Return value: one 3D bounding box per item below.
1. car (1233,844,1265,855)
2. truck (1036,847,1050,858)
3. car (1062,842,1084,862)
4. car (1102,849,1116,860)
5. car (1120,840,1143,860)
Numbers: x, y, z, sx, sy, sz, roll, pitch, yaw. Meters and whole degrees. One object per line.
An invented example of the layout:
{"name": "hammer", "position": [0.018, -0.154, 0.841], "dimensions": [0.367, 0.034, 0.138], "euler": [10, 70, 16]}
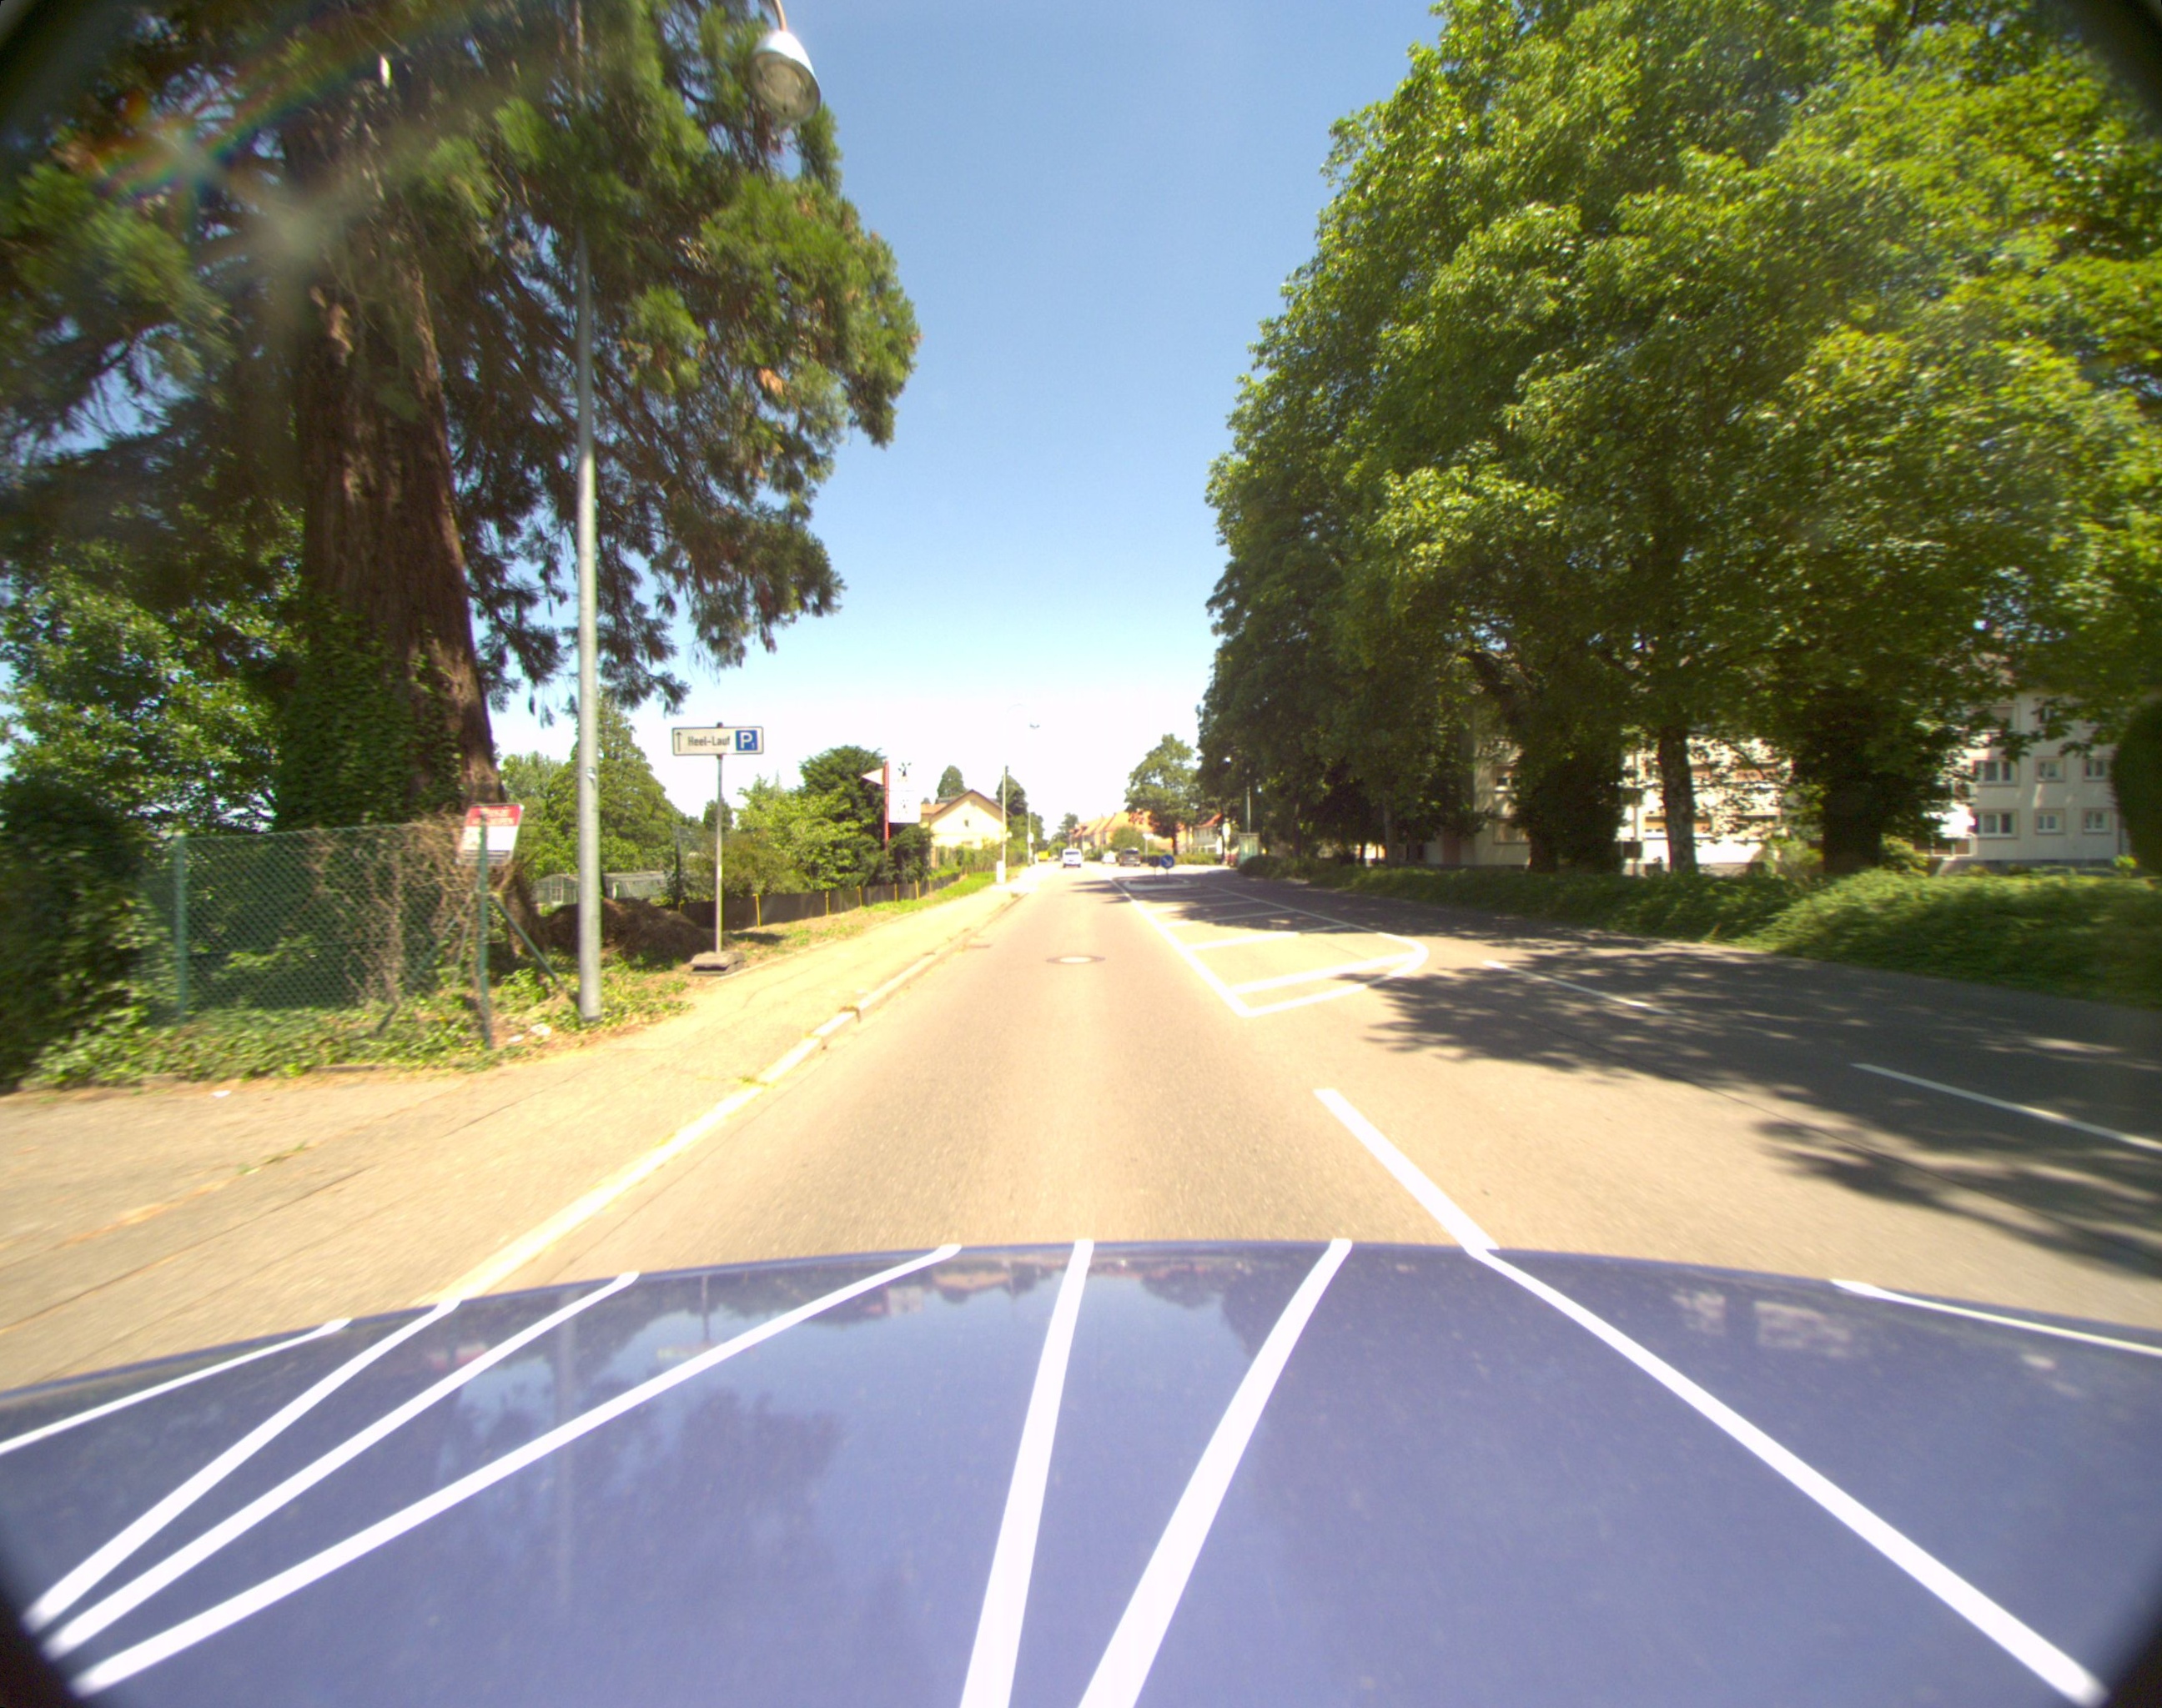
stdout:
{"name": "car", "position": [21.531, -0.564, 97.541], "dimensions": [3.693, 1.442, 1.553], "euler": [0, 1, -17]}
{"name": "truck", "position": [-8.108, -0.297, 162.026], "dimensions": [2.020, 2.295, 6.170], "euler": [-4, 0, -11]}
{"name": "car", "position": [-0.857, -0.206, 82.430], "dimensions": [1.999, 2.002, 4.384], "euler": [-2, 0, -5]}
{"name": "car", "position": [3.983, 0.022, 108.486], "dimensions": [1.695, 1.451, 3.638], "euler": [-2, 0, -3]}
{"name": "car", "position": [5.394, -0.458, 82.022], "dimensions": [1.999, 1.899, 4.987], "euler": [-2, 2, -2]}
